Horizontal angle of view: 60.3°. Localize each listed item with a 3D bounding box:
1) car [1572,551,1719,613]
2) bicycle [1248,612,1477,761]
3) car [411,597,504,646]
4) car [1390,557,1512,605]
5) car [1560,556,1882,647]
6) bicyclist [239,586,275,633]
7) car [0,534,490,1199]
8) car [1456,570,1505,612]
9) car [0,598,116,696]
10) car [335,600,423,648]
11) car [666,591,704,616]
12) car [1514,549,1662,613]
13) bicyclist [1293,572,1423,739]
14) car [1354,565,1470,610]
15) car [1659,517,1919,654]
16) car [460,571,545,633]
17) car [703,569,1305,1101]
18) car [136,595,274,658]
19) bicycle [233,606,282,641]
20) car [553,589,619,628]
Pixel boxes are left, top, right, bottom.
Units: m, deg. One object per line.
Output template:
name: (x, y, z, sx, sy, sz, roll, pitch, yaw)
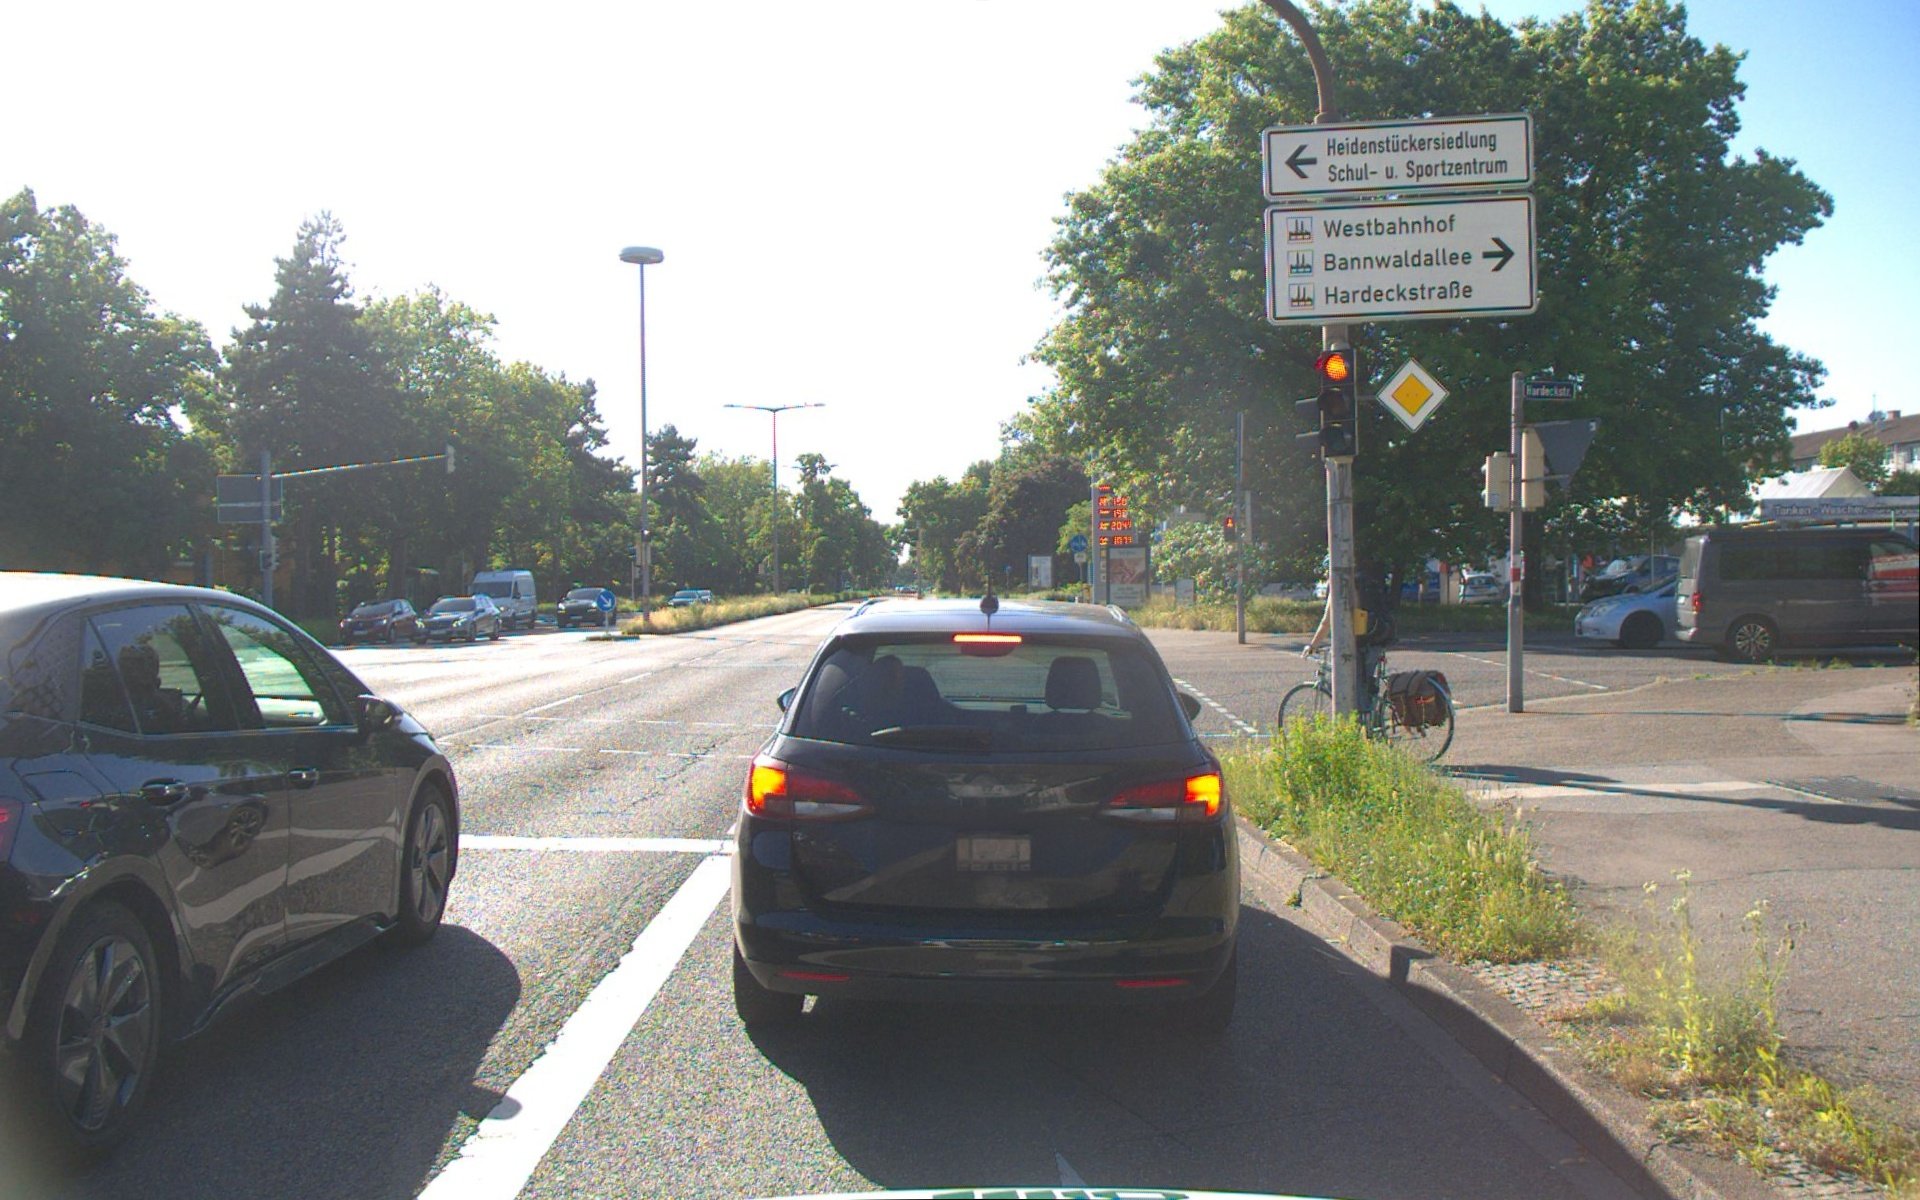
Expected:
car: (19.989, -0.535, 48.216, 3.934, 1.709, 1.732, -2, 0, -24)
bicycle: (3.225, 0.698, 13.391, 0.533, 1.117, 1.748, -2, -2, -44)
car: (-16.197, 0.673, 53.547, 1.652, 1.458, 4.614, -1, 0, -1)
car: (16.909, -0.652, 57.005, 3.837, 1.544, 1.732, -2, 0, -24)
car: (13.538, 0.029, 29.724, 4.897, 1.512, 2.002, -1, 0, 11)
bicyclist: (-25.953, 0.351, 61.078, 0.858, 1.677, 1.198, -2, 0, -5)
car: (-3.000, 0.655, 5.626, 1.650, 1.608, 4.206, 0, 0, -1)
car: (22.134, -0.402, 70.425, 1.702, 1.709, 4.003, -1, 0, 14)
car: (-16.294, 0.771, 27.866, 1.850, 1.551, 4.503, -1, 0, -1)
car: (-19.987, 0.800, 57.026, 1.652, 1.535, 4.003, -1, 0, -1)
car: (-17.400, 0.186, 104.907, 1.740, 1.488, 4.164, -1, 0, -1)
car: (18.996, -0.591, 50.048, 3.935, 1.780, 1.985, -2, 1, -24)
bicyclist: (3.219, 0.451, 13.395, 0.534, 1.299, 0.816, -2, -2, -44)
car: (16.433, -0.465, 60.080, 3.837, 1.544, 1.732, -2, 0, -24)
car: (13.853, -0.229, 26.153, 4.892, 2.027, 1.919, -1, 0, 14)
car: (-19.799, 0.051, 71.837, 2.057, 2.536, 6.003, -1, 0, -1)
car: (0.100, 0.681, 6.858, 1.721, 1.521, 4.206, 0, 0, -1)
car: (-19.248, 0.640, 42.345, 1.607, 1.481, 4.221, -1, 0, -1)
bicycle: (-25.954, 0.849, 61.159, 0.858, 1.233, 2.534, -2, 0, -5)
car: (-16.648, 0.349, 73.855, 1.953, 1.629, 4.615, -1, 0, -1)
